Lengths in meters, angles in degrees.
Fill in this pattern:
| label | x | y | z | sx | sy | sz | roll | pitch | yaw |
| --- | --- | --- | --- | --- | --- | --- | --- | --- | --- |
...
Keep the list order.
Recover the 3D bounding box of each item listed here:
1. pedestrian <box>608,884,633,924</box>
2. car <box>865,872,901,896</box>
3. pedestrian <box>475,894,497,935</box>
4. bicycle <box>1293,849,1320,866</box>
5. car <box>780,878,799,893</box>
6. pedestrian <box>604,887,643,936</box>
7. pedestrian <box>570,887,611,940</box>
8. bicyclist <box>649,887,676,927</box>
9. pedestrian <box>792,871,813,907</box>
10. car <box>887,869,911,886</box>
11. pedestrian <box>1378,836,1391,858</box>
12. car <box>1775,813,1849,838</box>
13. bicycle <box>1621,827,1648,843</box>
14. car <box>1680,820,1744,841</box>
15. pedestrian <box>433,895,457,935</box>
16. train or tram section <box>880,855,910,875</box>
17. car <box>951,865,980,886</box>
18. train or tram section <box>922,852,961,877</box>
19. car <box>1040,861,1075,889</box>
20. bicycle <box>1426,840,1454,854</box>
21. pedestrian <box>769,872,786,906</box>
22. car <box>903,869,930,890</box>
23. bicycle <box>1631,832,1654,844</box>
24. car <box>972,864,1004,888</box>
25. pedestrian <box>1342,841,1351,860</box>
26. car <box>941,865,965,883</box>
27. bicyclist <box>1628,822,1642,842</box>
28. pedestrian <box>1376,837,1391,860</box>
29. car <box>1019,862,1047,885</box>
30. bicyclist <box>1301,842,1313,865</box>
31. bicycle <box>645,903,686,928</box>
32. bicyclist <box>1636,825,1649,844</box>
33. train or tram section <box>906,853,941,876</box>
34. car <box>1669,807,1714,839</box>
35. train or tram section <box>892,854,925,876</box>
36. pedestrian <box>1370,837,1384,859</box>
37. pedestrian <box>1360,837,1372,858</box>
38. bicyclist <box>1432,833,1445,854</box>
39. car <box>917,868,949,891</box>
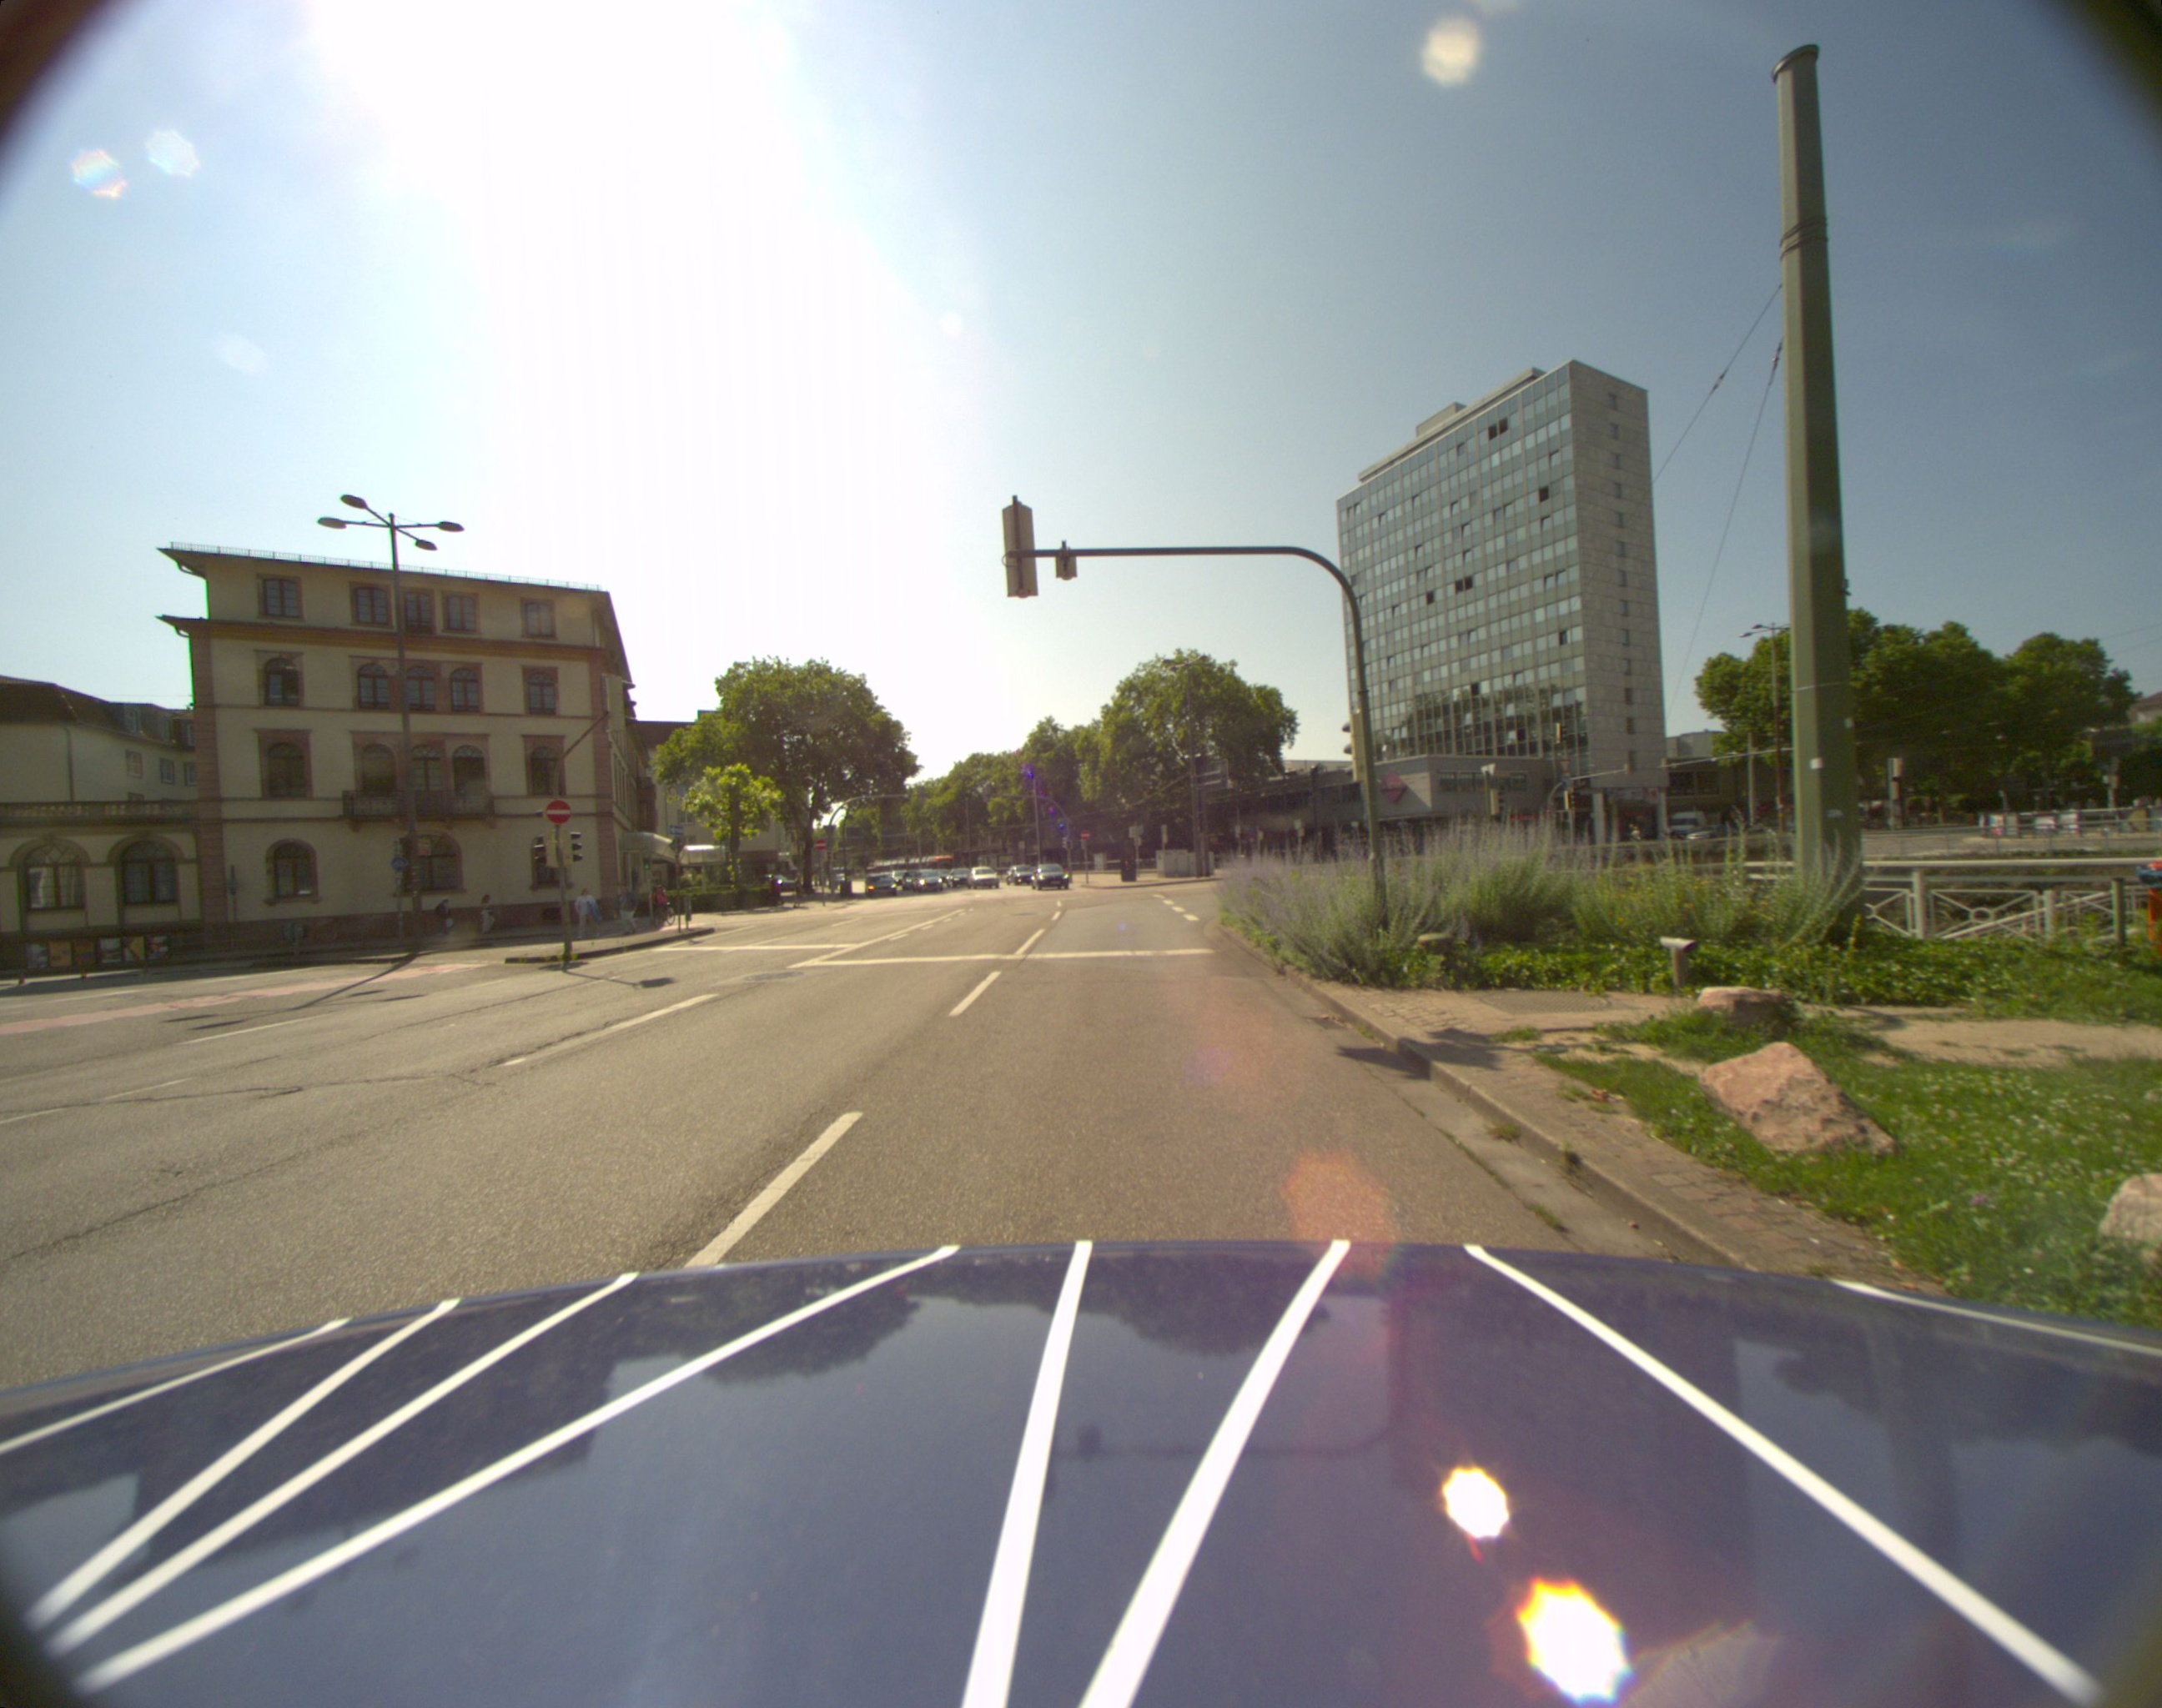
| label | x | y | z | sx | sy | sz | roll | pitch | yaw |
| --- | --- | --- | --- | --- | --- | --- | --- | --- | --- |
| pedestrian | -20.596 | 2.228 | 34.020 | 0.845 | 1.685 | 0.743 | -4 | 0 | -29 |
| car | -13.012 | 1.930 | 49.825 | 1.794 | 1.443 | 3.967 | -2 | 0 | -22 |
| pedestrian | -25.100 | 2.533 | 32.053 | 0.536 | 1.639 | 0.579 | -4 | 0 | -24 |
| bicycle | 16.692 | 0.239 | 56.159 | 1.815 | 1.160 | 0.521 | -3 | 1 | 0 |
| car | -28.631 | 3.050 | 74.469 | 1.592 | 1.314 | 3.573 | -4 | 0 | -22 |
| pedestrian | -15.471 | 1.933 | 25.736 | 0.773 | 1.563 | 0.829 | -4 | 0 | -7 |
| pedestrian | -16.139 | 1.943 | 25.007 | 0.754 | 1.650 | 0.829 | -4 | 0 | -8 |
| bicyclist | -17.309 | 2.183 | 31.417 | 0.593 | 1.597 | 0.684 | -3 | 0 | 5 |
| pedestrian | -14.313 | 1.796 | 39.017 | 0.590 | 1.834 | 0.730 | -3 | 1 | 40 |
| car | -16.638 | 2.146 | 69.593 | 1.792 | 1.443 | 3.971 | -2 | 0 | -9 |
| pedestrian | 25.906 | -0.580 | 64.809 | 0.823 | 1.825 | 0.671 | -2 | 1 | 4 |
| car | 52.274 | -2.032 | 54.365 | 4.080 | 1.525 | 1.880 | -3 | 0 | -14 |
| bicycle | 48.208 | -1.654 | 66.181 | 1.940 | 1.292 | 0.716 | -3 | 2 | -10 |
| car | 51.457 | -1.900 | 61.980 | 4.165 | 1.451 | 1.880 | -3 | 0 | -14 |
| pedestrian | -27.365 | 2.625 | 32.699 | 0.536 | 1.639 | 0.673 | -4 | 0 | -24 |
| train or tram section | -32.234 | 1.933 | 131.590 | 2.738 | 3.248 | 8.719 | -4 | 0 | -28 |
| car | -9.038 | 1.689 | 59.355 | 1.793 | 1.514 | 3.969 | -2 | 0 | -14 |
| train or tram section | -20.037 | 1.501 | 108.474 | 2.738 | 3.248 | 8.719 | -4 | 0 | -28 |
| car | -1.314 | 1.194 | 43.851 | 1.791 | 1.443 | 4.281 | -2 | 0 | 1 |
| bicycle | 29.772 | -0.585 | 63.058 | 1.967 | 1.096 | 0.577 | -3 | 0 | 3 |
| pedestrian | -16.699 | 1.926 | 41.838 | 0.727 | 1.795 | 0.651 | -4 | 0 | -21 |
| car | -13.305 | 2.033 | 61.260 | 1.793 | 1.521 | 3.968 | -2 | 0 | -17 |
| bicycle | 47.384 | -1.347 | 64.135 | 1.812 | 0.878 | 0.592 | -4 | 2 | -16 |
| car | -6.388 | 1.459 | 51.660 | 1.721 | 1.491 | 4.487 | -2 | -1 | -12 |
| pedestrian | 23.224 | -0.292 | 66.468 | 0.598 | 1.628 | 0.566 | -2 | 1 | 28 |
| car | -11.492 | 1.791 | 68.135 | 1.793 | 1.514 | 3.969 | -2 | 0 | -14 |
| bicyclist | 48.242 | -1.913 | 66.182 | 0.684 | 1.758 | 0.696 | -3 | 2 | -10 |
| pedestrian | 25.044 | -0.468 | 62.932 | 0.824 | 1.825 | 0.670 | -3 | 1 | -28 |
| car | -3.549 | 1.389 | 55.566 | 1.792 | 1.508 | 3.971 | -2 | 0 | -7 |
| bicyclist | 16.695 | -0.033 | 56.143 | 0.683 | 1.697 | 0.521 | -3 | 1 | 0 |
| bicycle | -17.274 | 2.547 | 31.601 | 0.593 | 0.850 | 1.745 | -3 | 0 | 5 |
| bicyclist | 47.361 | -1.664 | 64.119 | 0.684 | 1.518 | 0.582 | -4 | 2 | -16 |
| train or tram section | -24.104 | 1.645 | 116.149 | 2.738 | 3.248 | 8.719 | -4 | 0 | -28 |
| car | 59.486 | -3.054 | 74.028 | 4.642 | 2.899 | 1.744 | -3 | 0 | -30 |
| train or tram section | -28.181 | 1.789 | 123.863 | 2.738 | 3.248 | 8.719 | -4 | 0 | -28 |
| pedestrian | 24.831 | -0.495 | 63.748 | 0.824 | 1.825 | 0.733 | -3 | 1 | -28 |
| pedestrian | 24.881 | -0.553 | 66.258 | 0.822 | 1.796 | 0.672 | -2 | 1 | 11 |
| bicyclist | 29.656 | -0.860 | 63.060 | 0.683 | 1.677 | 0.584 | -3 | 0 | 3 |
| car | -10.284 | 1.720 | 52.996 | 1.792 | 1.443 | 3.972 | -2 | 0 | -6 |
